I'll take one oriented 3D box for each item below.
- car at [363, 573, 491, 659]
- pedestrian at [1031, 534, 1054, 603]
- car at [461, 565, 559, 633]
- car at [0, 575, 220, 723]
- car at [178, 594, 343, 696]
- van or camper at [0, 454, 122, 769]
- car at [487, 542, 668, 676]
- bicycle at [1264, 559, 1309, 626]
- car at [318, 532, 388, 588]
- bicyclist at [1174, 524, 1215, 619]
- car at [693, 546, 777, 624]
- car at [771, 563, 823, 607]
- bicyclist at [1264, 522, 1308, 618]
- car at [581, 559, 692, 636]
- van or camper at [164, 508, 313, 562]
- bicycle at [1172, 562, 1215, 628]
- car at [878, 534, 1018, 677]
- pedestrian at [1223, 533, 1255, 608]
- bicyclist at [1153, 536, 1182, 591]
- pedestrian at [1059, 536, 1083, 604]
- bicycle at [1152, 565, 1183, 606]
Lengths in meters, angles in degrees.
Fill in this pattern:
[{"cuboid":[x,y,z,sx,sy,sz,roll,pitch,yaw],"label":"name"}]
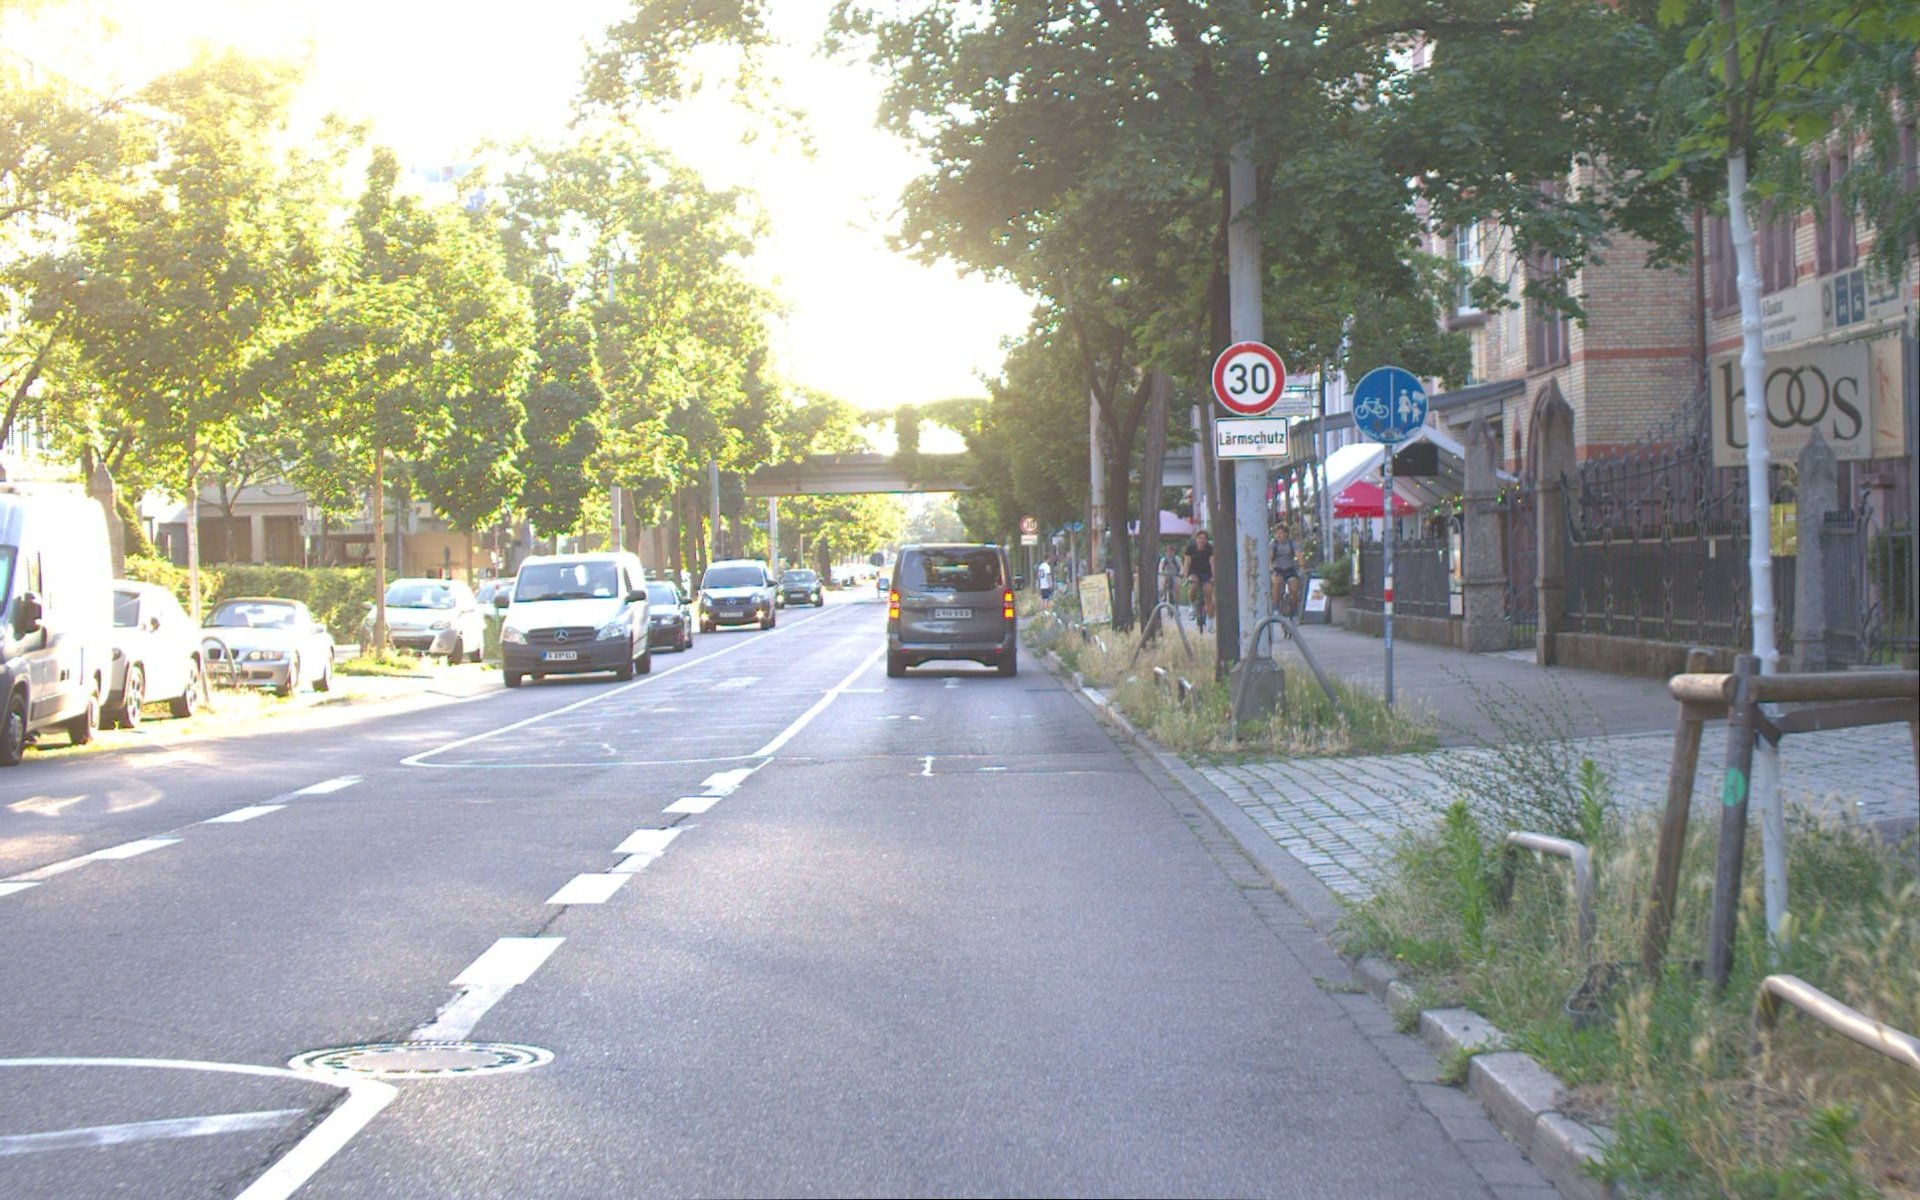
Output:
[{"cuboid":[-9.411,0.258,60.943,1.697,1.446,4.000,0,1,-1],"label":"car"},{"cuboid":[2.295,-0.876,95.207,0.504,1.882,0.545,0,1,-14],"label":"pedestrian"},{"cuboid":[-9.589,-0.036,73.480,1.638,1.381,4.000,0,1,-1],"label":"car"},{"cuboid":[-9.670,0.510,38.854,1.746,1.529,4.303,0,1,-1],"label":"car"},{"cuboid":[-9.337,0.577,46.091,1.536,1.244,3.614,0,1,-1],"label":"car"},{"cuboid":[-9.294,0.046,31.846,1.993,2.659,6.039,0,1,-4],"label":"van or camper"},{"cuboid":[-5.695,0.082,51.826,1.993,1.825,5.169,-3,1,1],"label":"car"},{"cuboid":[5.194,-0.136,54.763,0.517,1.036,2.089,0,1,0],"label":"bicycle"},{"cuboid":[-25.548,-1.699,144.773,1.993,2.300,5.245,0,1,0],"label":"car"},{"cuboid":[3.790,-0.467,55.708,0.595,1.527,0.893,0,1,0],"label":"bicyclist"},{"cuboid":[-5.706,-0.415,87.564,1.833,1.846,4.474,-3,1,-1],"label":"car"},{"cuboid":[-6.183,-0.568,130.494,1.679,1.525,4.000,-3,1,0],"label":"car"},{"cuboid":[5.190,-0.483,54.753,0.595,1.527,0.893,0,1,0],"label":"bicyclist"},{"cuboid":[-6.445,-0.076,68.853,1.759,1.381,4.305,-3,1,0],"label":"car"},{"cuboid":[-34.152,-3.067,162.864,6.562,2.513,2.449,0,1,-1],"label":"van or camper"},{"cuboid":[3.787,-0.086,55.831,0.544,1.036,2.089,0,1,0],"label":"bicycle"},{"cuboid":[-0.133,0.043,50.121,1.887,1.918,3.839,-2,1,1],"label":"car"},{"cuboid":[6.103,-0.644,75.177,0.644,1.627,0.656,0,1,1],"label":"pedestrian"},{"cuboid":[4.686,-0.826,77.780,0.585,1.232,1.112,0,1,0],"label":"bicyclist"},{"cuboid":[3.063,-0.829,94.779,0.504,1.882,0.545,0,1,-14],"label":"pedestrian"},{"cuboid":[4.690,-0.326,77.775,0.579,0.894,1.987,0,1,0],"label":"bicycle"}]
